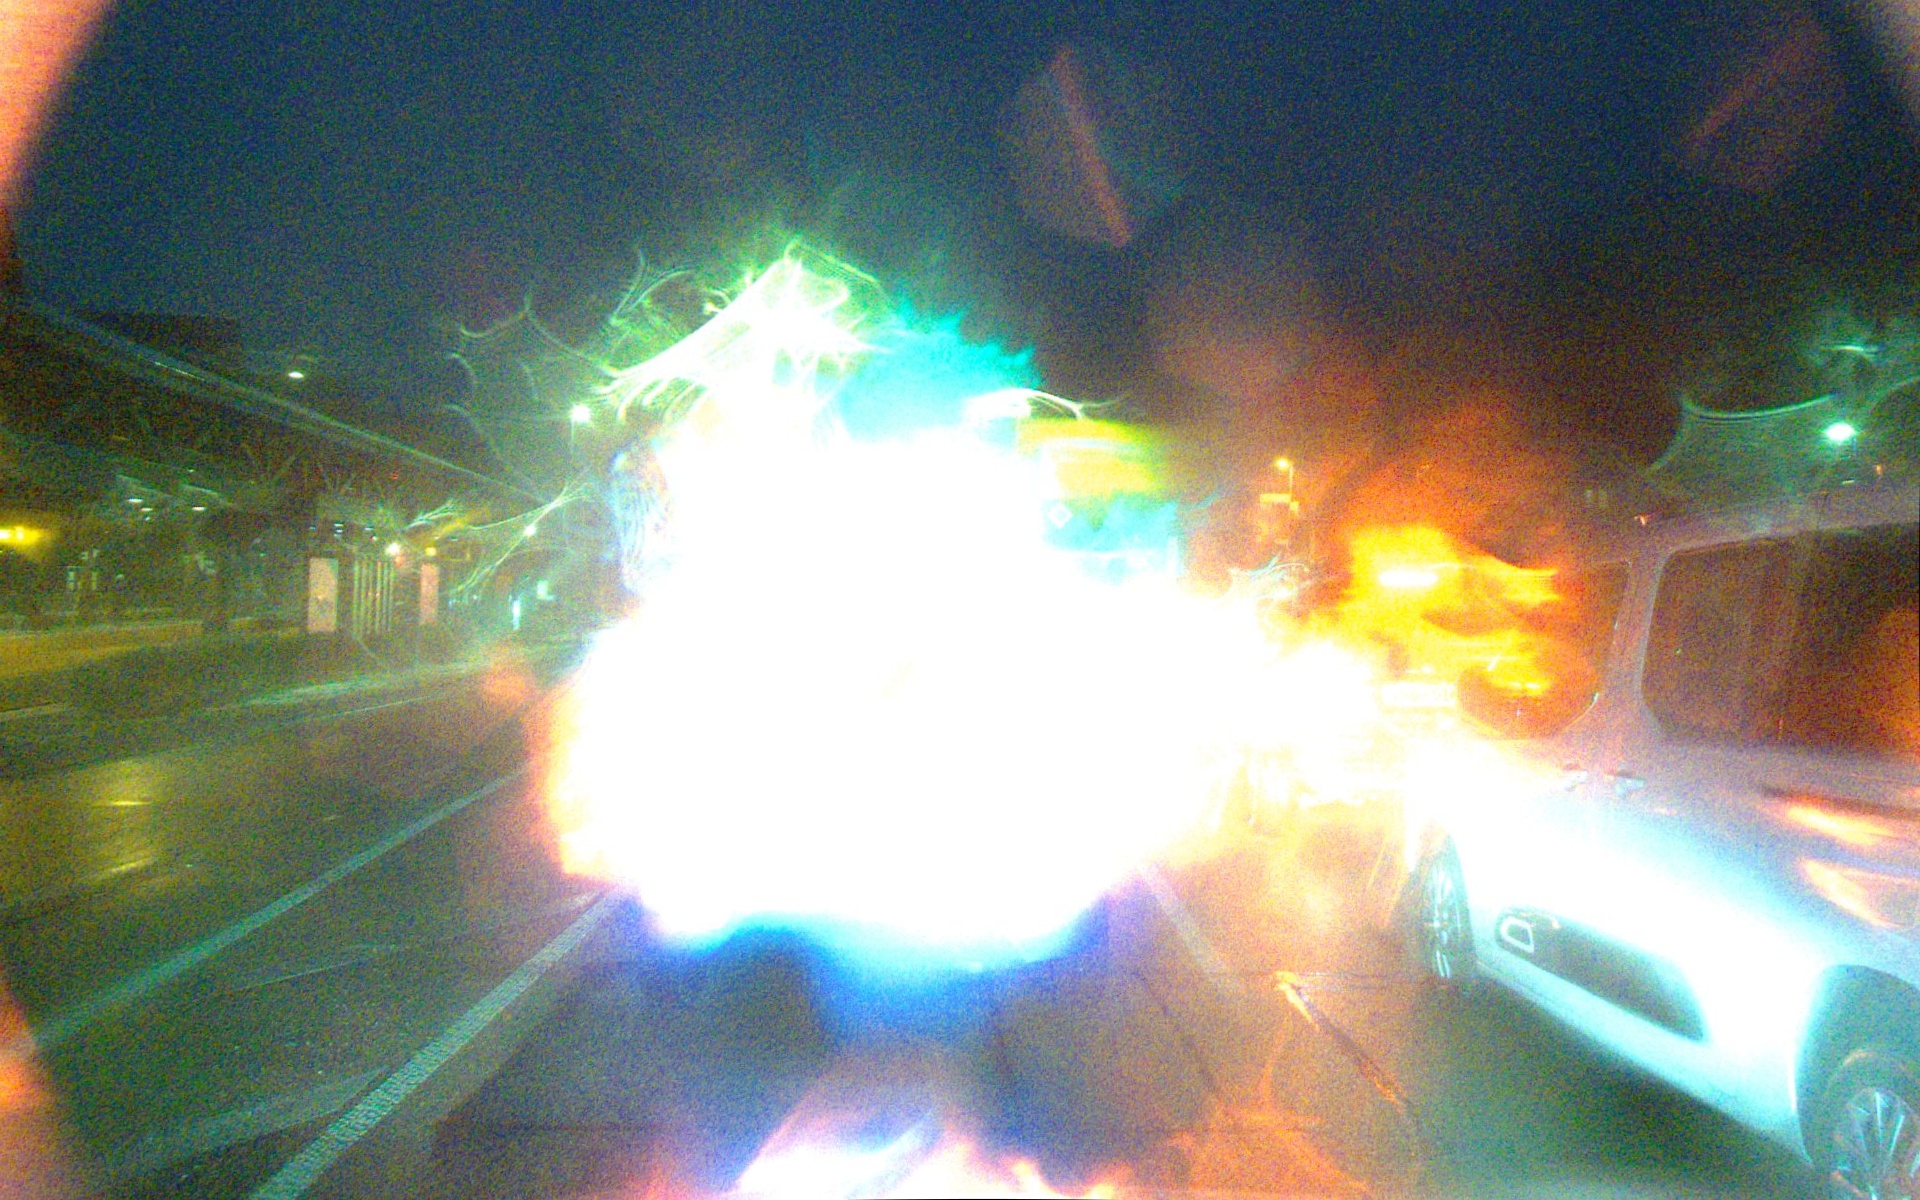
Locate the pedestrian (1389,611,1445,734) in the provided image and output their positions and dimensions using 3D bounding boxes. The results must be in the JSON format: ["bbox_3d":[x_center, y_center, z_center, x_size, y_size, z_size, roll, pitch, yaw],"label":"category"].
[{"bbox_3d":[6.538,1.026,23.678,0.610,1.731,0.540,1,-1,-3],"label":"pedestrian"}]

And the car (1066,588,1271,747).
[{"bbox_3d":[2.455,0.765,20.468,1.953,1.748,3.999,1,0,-1],"label":"car"}]

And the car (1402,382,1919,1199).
[{"bbox_3d":[2.767,0.541,4.633,1.814,1.897,4.339,1,0,-1],"label":"car"}]

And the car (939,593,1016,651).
[{"bbox_3d":[0.448,0.607,47.333,1.821,1.571,3.926,1,0,-5],"label":"car"}]

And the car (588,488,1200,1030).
[{"bbox_3d":[-0.262,0.536,7.655,1.974,1.747,4.450,1,0,-1],"label":"car"}]

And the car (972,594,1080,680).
[{"bbox_3d":[1.432,0.806,37.477,1.954,1.804,3.996,1,0,-5],"label":"car"}]

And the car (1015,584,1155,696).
[{"bbox_3d":[1.994,0.624,27.586,1.953,1.699,3.999,1,0,-1],"label":"car"}]

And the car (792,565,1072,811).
[{"bbox_3d":[-0.225,0.635,13.729,1.953,1.713,3.999,1,0,-1],"label":"car"}]

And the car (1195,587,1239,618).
[{"bbox_3d":[14.629,0.127,94.378,1.827,1.675,3.962,-2,0,0],"label":"car"}]

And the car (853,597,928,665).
[{"bbox_3d":[-2.057,0.871,48.054,1.955,1.856,3.995,1,0,-6],"label":"car"}]

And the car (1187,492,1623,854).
[{"bbox_3d":[2.888,0.438,11.683,1.929,2.082,3.999,1,0,-1],"label":"car"}]
